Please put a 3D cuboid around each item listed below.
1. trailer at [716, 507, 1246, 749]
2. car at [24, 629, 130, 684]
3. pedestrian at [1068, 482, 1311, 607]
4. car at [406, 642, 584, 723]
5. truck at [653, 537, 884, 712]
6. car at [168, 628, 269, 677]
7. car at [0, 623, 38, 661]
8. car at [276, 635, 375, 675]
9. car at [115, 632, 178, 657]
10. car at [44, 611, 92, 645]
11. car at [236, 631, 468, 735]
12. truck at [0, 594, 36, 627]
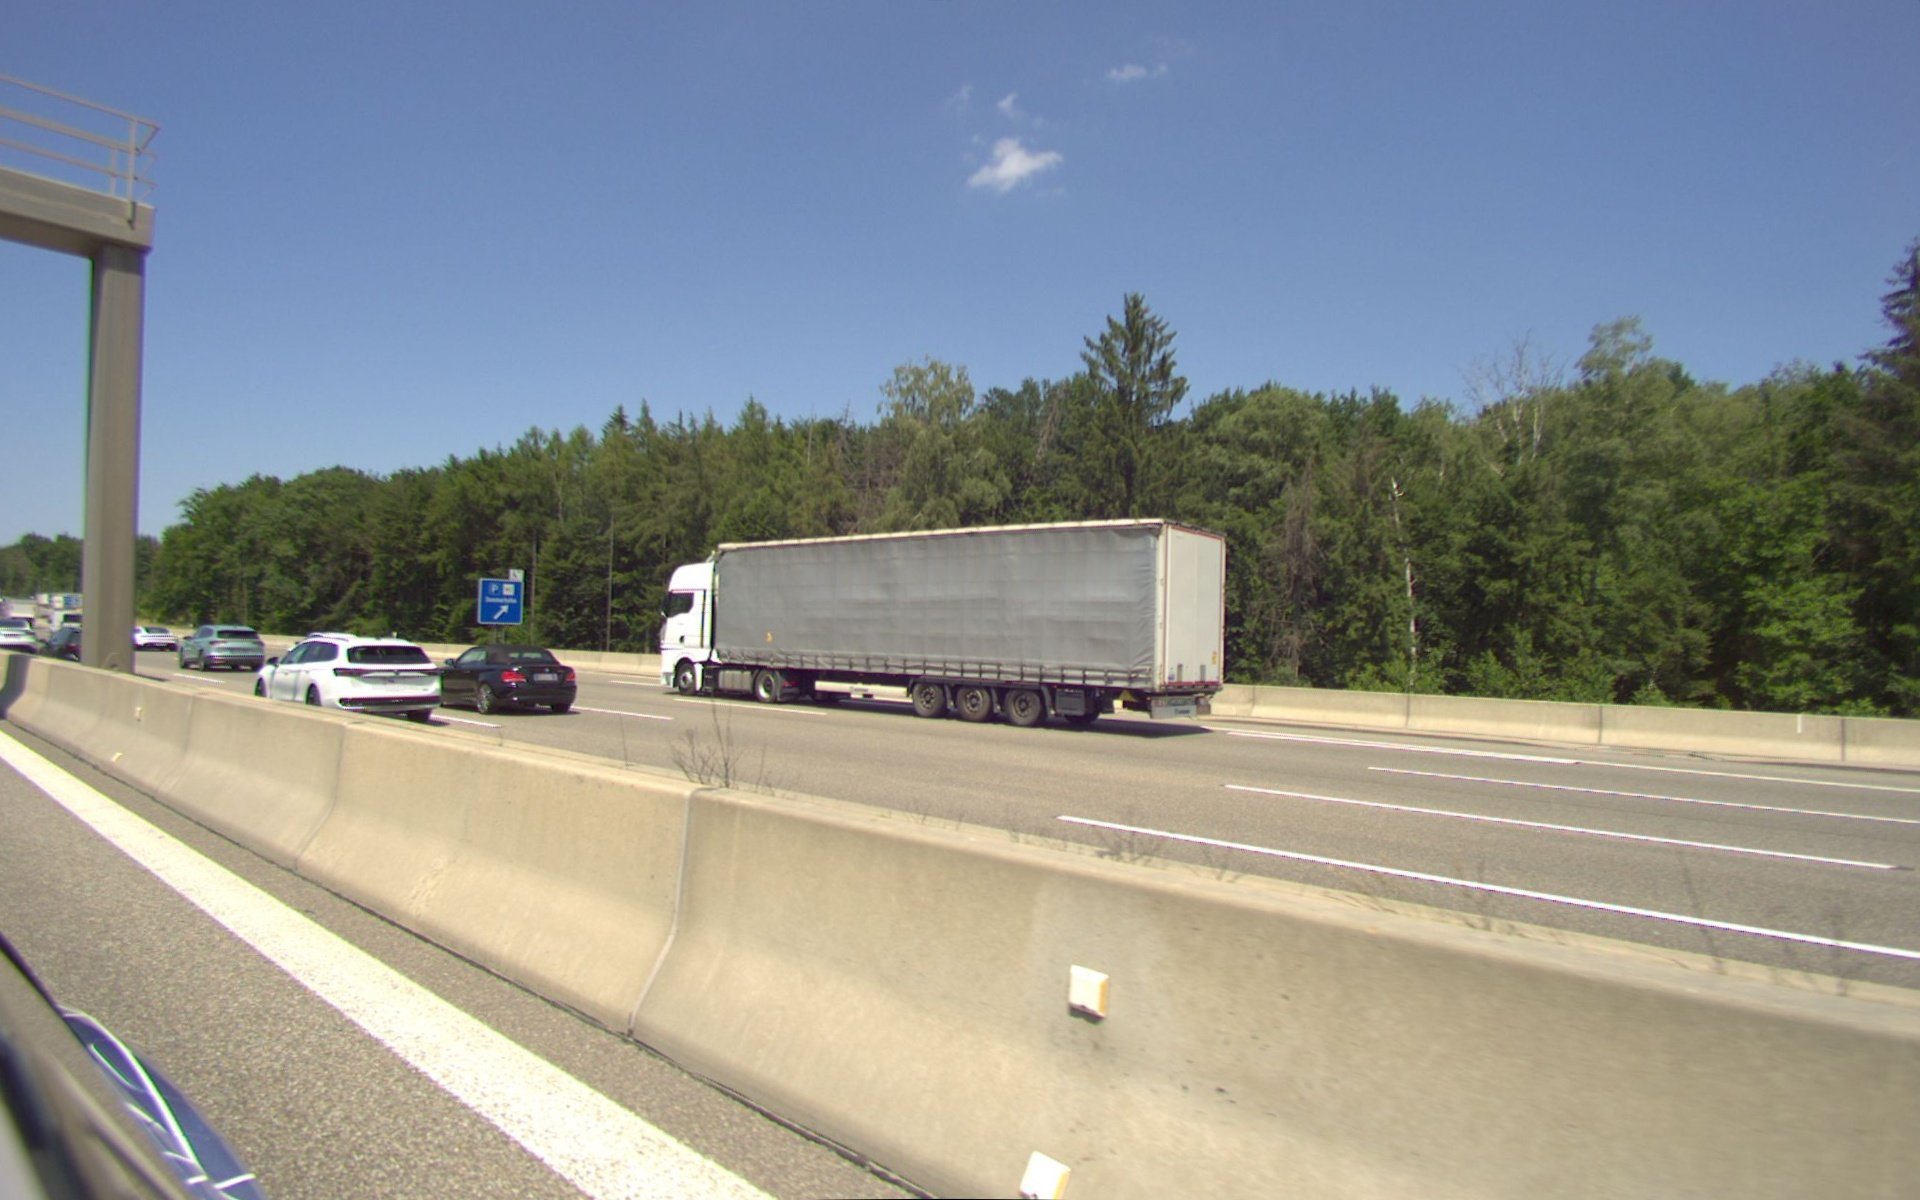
[{"bbox_3d":[-0.398,0.560,23.513,13.712,4.278,2.726,0,-3,41],"label":"trailer"},{"bbox_3d":[-27.280,1.699,31.237,4.061,1.562,1.523,-1,-3,36],"label":"car"},{"bbox_3d":[4.279,-0.939,19.144,3.998,2.029,1.973,0,-2,41],"label":"pedestrian"},{"bbox_3d":[-9.822,1.653,21.220,4.721,1.453,1.532,-1,-2,40],"label":"car"},{"bbox_3d":[-5.355,0.638,27.689,6.375,4.252,2.731,0,-2,41],"label":"truck"},{"bbox_3d":[-26.867,1.875,36.606,4.878,1.602,1.799,-1,-4,40],"label":"car"},{"bbox_3d":[-43.675,1.882,46.200,4.474,1.686,1.793,-1,-3,41],"label":"car"},{"bbox_3d":[-24.842,2.133,39.556,4.924,1.397,1.832,-1,-4,40],"label":"car"},{"bbox_3d":[-46.763,2.545,58.146,4.842,1.316,1.972,-1,-3,41],"label":"car"},{"bbox_3d":[-70.579,2.198,80.028,6.623,2.431,1.910,0,-4,41],"label":"car"},{"bbox_3d":[-10.736,1.369,17.699,5.210,1.562,1.827,-1,-5,40],"label":"car"},{"bbox_3d":[-118.090,1.294,126.384,10.231,3.969,2.691,0,-2,41],"label":"truck"}]
